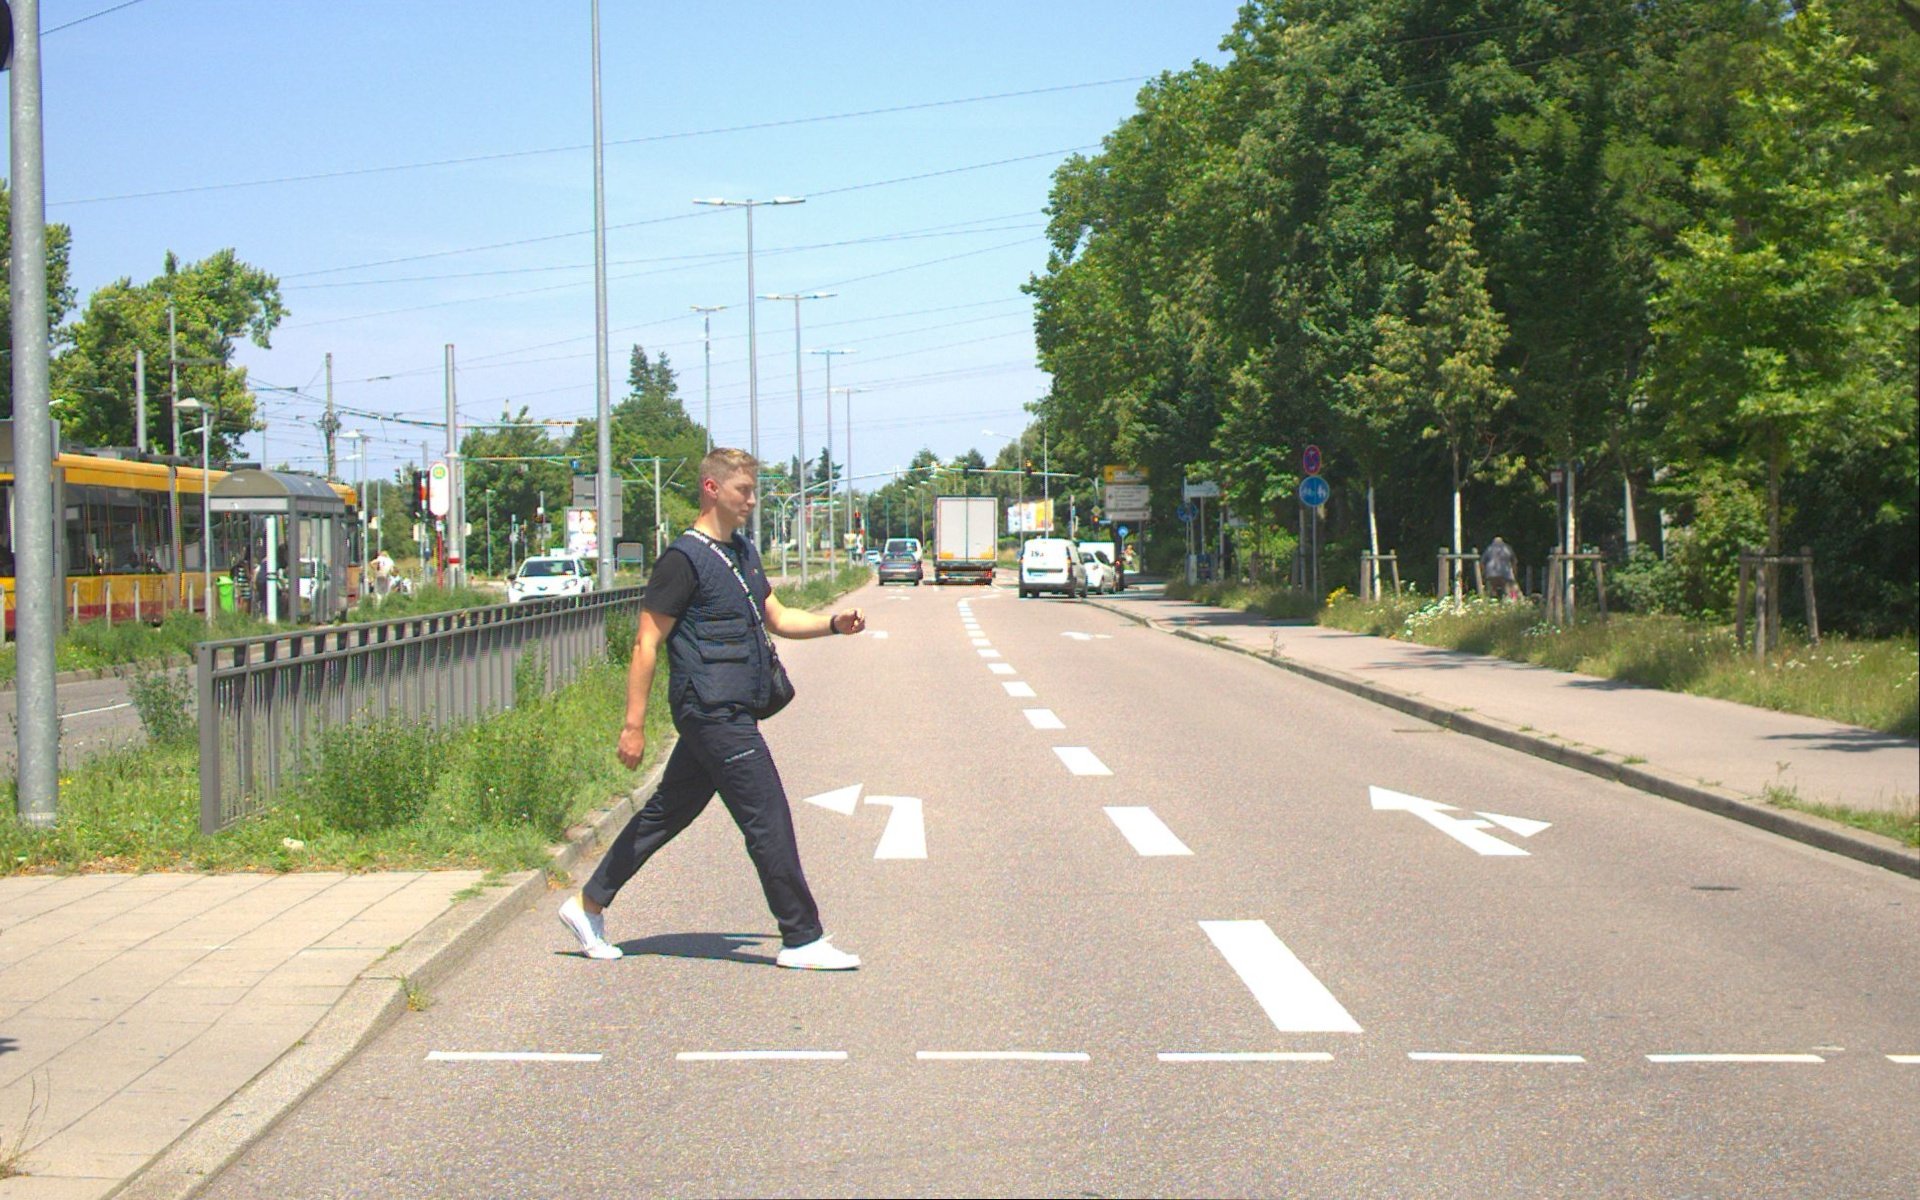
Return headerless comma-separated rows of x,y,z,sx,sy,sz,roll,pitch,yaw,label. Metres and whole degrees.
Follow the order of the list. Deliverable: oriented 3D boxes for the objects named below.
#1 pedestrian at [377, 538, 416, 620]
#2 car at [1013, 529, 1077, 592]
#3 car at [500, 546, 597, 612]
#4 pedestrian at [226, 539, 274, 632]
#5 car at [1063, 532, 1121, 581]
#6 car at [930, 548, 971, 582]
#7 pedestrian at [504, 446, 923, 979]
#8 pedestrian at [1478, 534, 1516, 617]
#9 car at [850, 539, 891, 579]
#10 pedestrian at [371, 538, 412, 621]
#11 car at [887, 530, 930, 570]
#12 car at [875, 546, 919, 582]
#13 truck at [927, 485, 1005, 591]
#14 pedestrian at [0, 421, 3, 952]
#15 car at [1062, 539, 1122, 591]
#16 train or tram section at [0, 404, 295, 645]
-13.877,-0.521,84.701,0.815,2.007,0.938,0,1,-1,pedestrian
2.575,-1.220,105.081,1.779,1.897,4.000,0,1,-1,car
-9.622,-0.506,80.617,1.845,1.489,3.791,0,1,-1,car
-14.292,-0.303,69.260,0.785,1.862,0.817,0,1,-1,pedestrian
4.547,-1.519,118.792,1.779,1.663,4.000,0,1,-1,car
-0.433,-1.562,153.621,1.811,1.459,4.000,0,1,-1,car
-0.862,0.375,12.085,1.187,1.772,0.838,0,-1,30,pedestrian
9.302,-0.427,59.559,0.604,1.433,0.556,0,1,6,pedestrian
-4.553,-2.081,175.170,1.993,2.007,4.000,0,1,-1,car
-13.817,-0.509,83.581,0.815,2.007,0.938,0,1,-1,pedestrian
-2.462,-2.368,163.457,1.993,1.809,4.000,1,1,-1,car
-2.611,-1.527,144.089,1.811,1.459,4.000,0,1,-1,car
0.213,-2.637,146.114,3.205,4.344,6.561,0,1,-1,truck
-3.612,0.304,11.109,0.840,1.771,0.720,1,3,-1,pedestrian
4.297,-1.154,112.449,1.779,1.663,4.000,0,1,-1,car
-16.589,-1.329,62.497,2.931,3.776,33.090,0,1,-1,train or tram section
